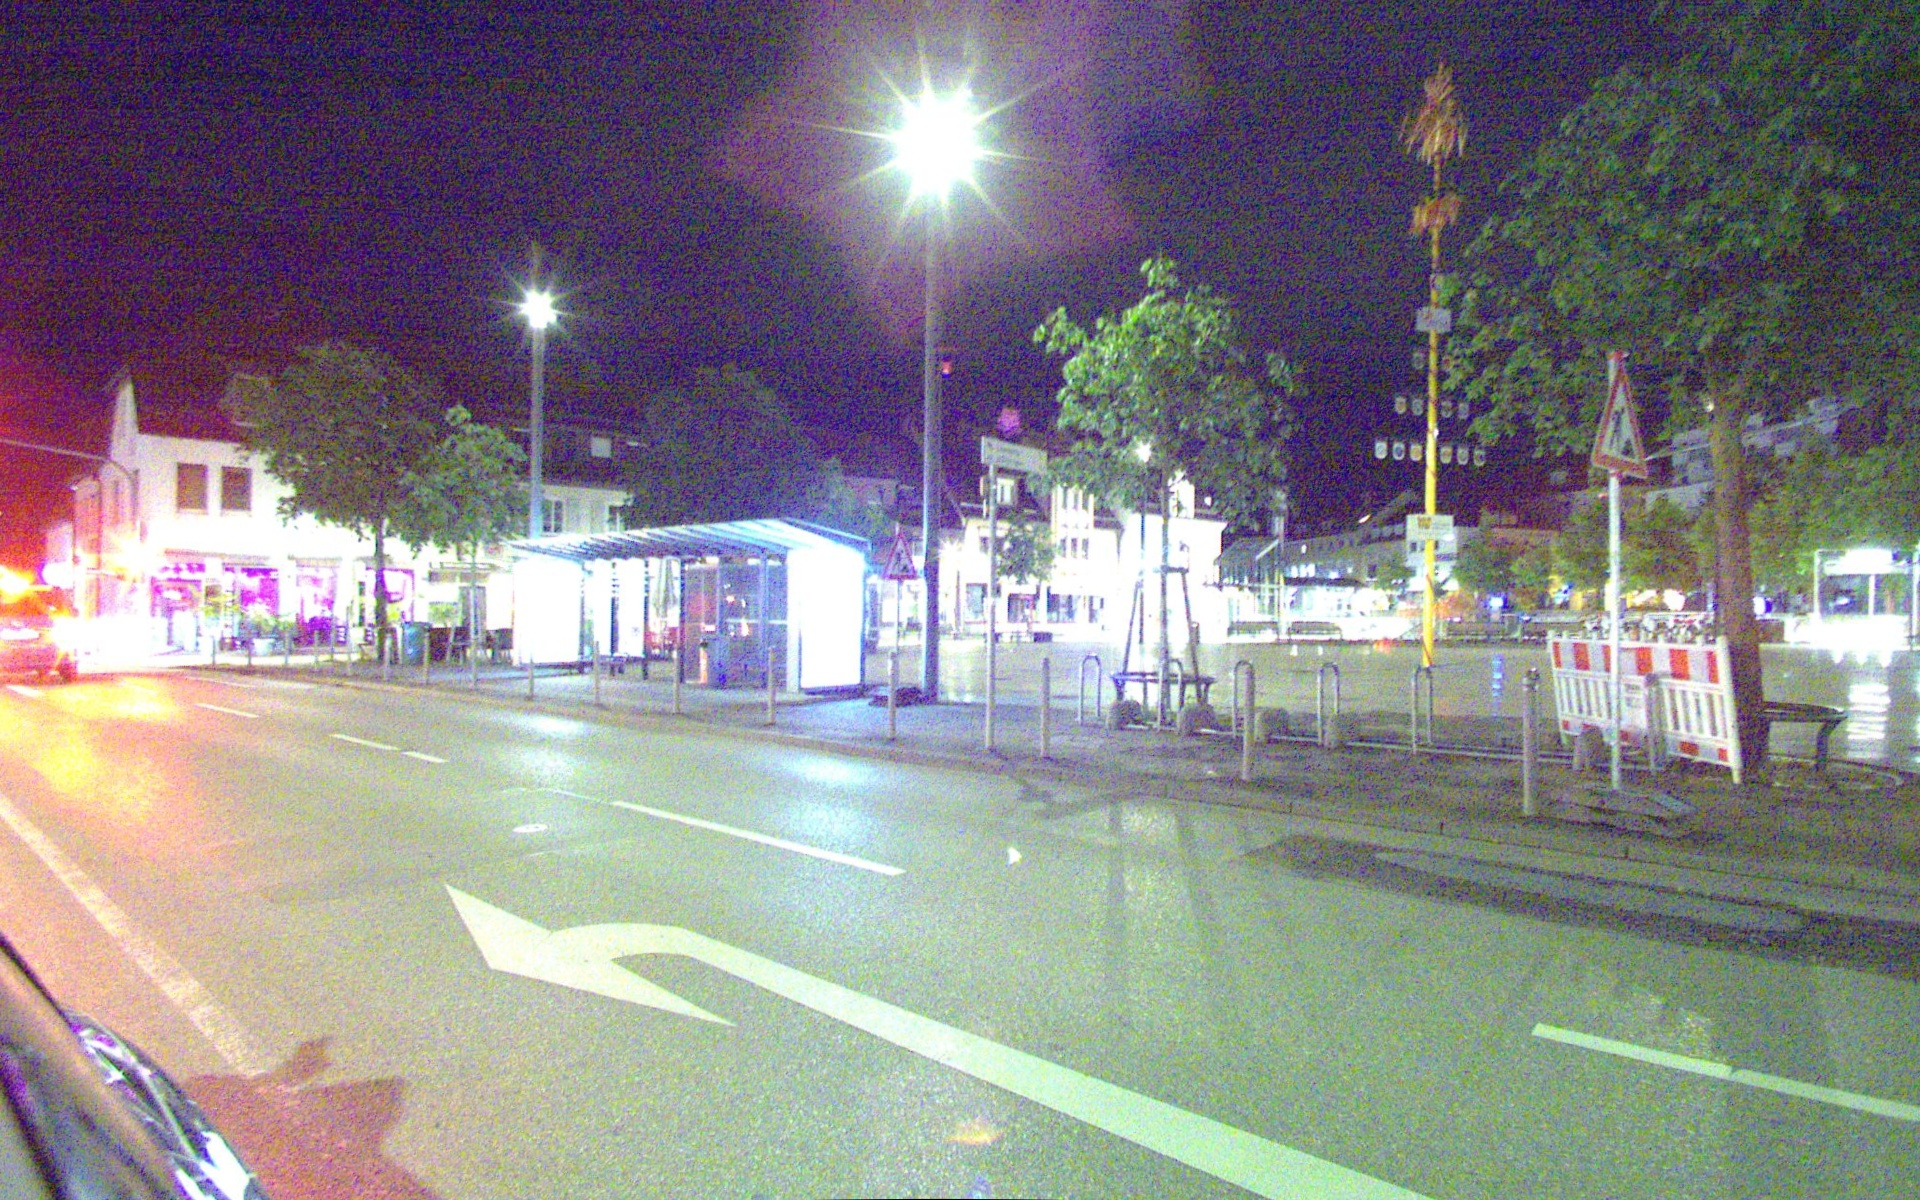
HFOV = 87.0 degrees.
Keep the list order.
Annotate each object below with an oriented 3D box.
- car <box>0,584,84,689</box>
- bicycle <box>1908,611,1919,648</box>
[{"bbox_3d":[-19.117,0.688,20.026,4.908,1.886,1.947,-1,-1,40],"label":"car"},{"bbox_3d":[26.397,0.785,26.983,1.525,0.965,0.476,-1,0,25],"label":"bicycle"}]
